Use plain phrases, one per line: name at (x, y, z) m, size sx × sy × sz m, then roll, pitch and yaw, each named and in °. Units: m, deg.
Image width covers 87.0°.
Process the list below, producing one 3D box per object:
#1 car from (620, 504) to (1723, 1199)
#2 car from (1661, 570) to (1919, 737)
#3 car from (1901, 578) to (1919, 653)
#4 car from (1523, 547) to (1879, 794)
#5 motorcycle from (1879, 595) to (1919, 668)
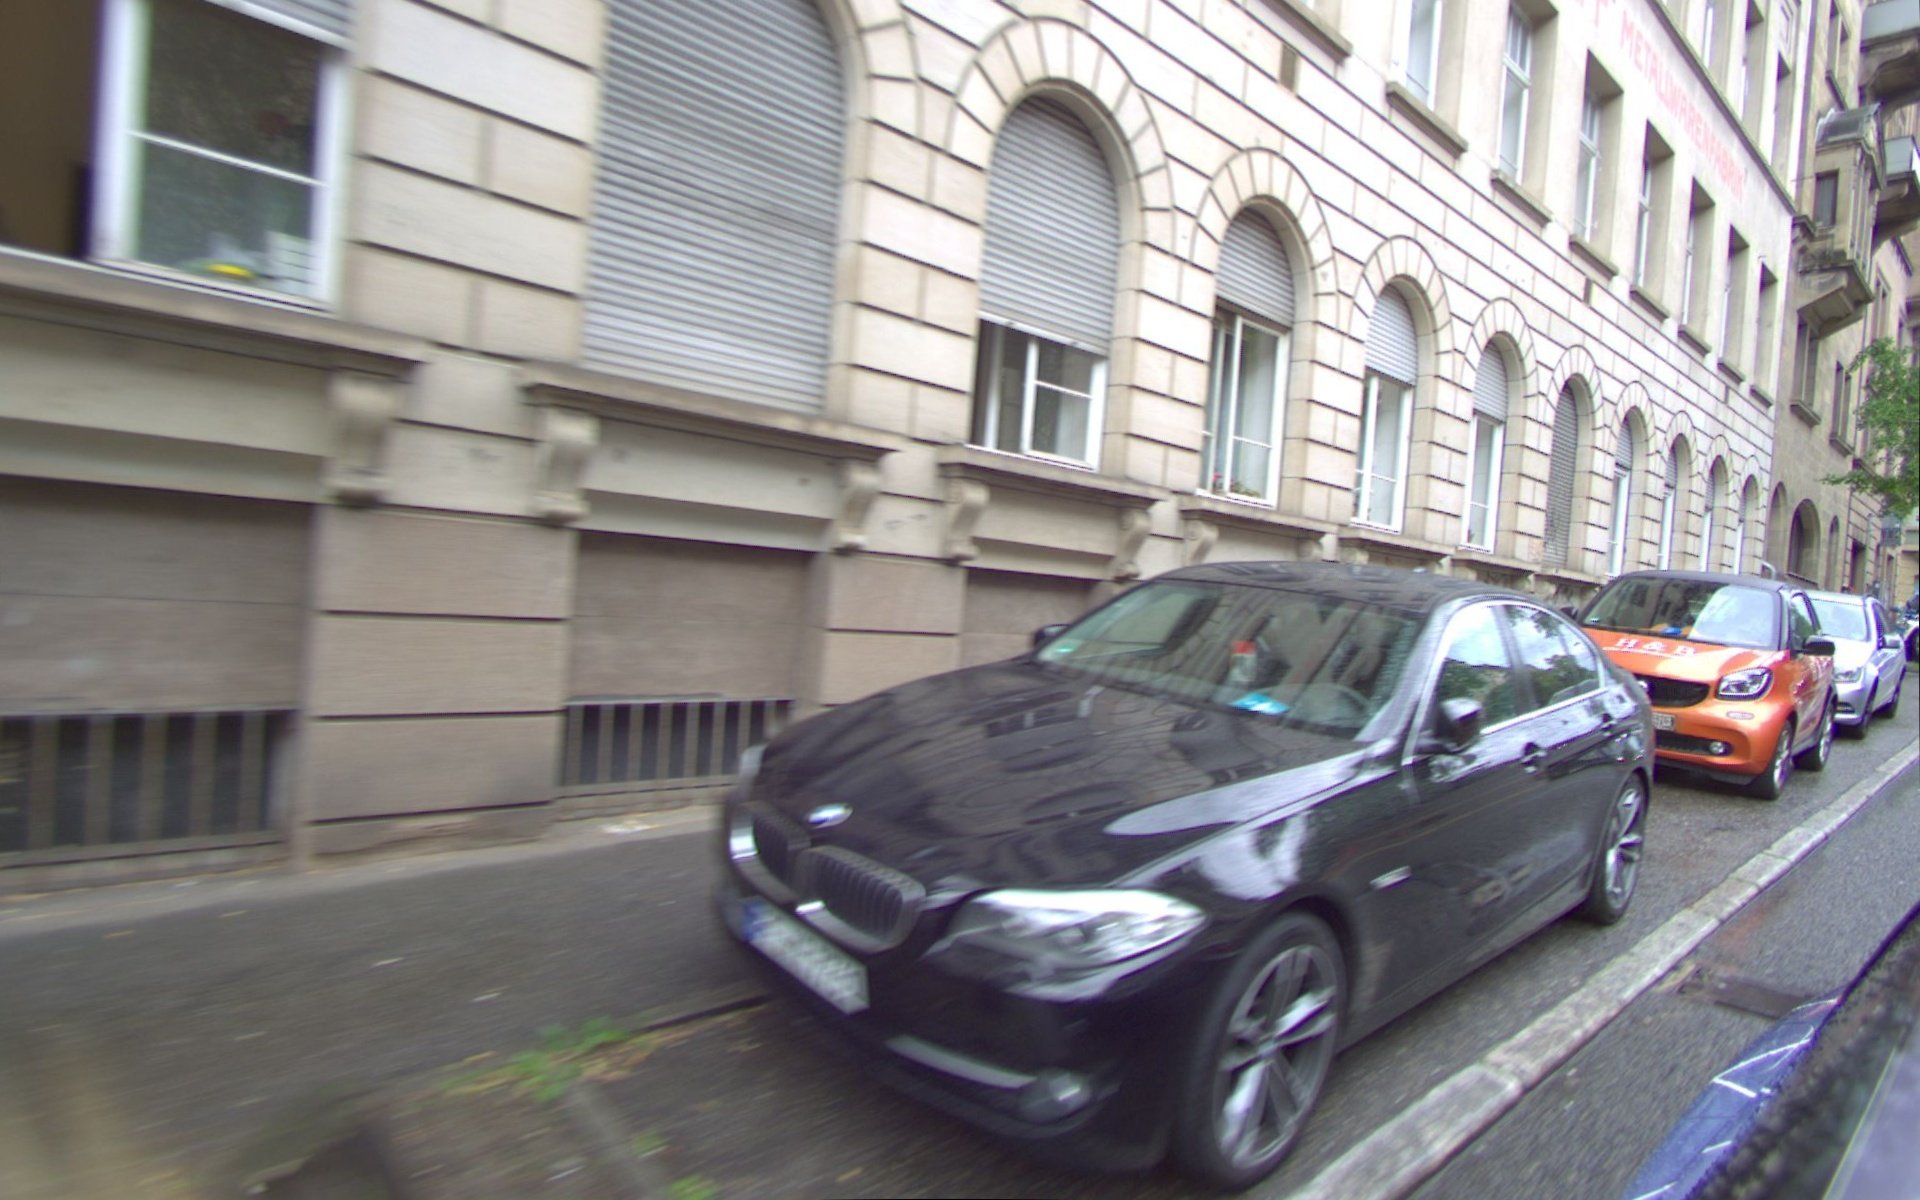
car at (1.295, 0.529, 3.972) m, size 4.642 × 1.478 × 1.761 m, roll 0°, pitch 5°, yaw -42°
car at (9.697, 0.477, 11.582) m, size 4.346 × 1.448 × 1.699 m, roll 0°, pitch 5°, yaw -42°
car at (22.019, 0.373, 22.120) m, size 3.601 × 1.561 × 1.660 m, roll 0°, pitch 5°, yaw -41°
car at (6.152, 0.434, 8.308) m, size 3.128 × 1.538 × 1.642 m, roll 0°, pitch 5°, yaw -42°
motorcycle at (17.901, 0.626, 18.153) m, size 1.910 × 1.250 × 0.655 m, roll 5°, pitch 2°, yaw 14°
